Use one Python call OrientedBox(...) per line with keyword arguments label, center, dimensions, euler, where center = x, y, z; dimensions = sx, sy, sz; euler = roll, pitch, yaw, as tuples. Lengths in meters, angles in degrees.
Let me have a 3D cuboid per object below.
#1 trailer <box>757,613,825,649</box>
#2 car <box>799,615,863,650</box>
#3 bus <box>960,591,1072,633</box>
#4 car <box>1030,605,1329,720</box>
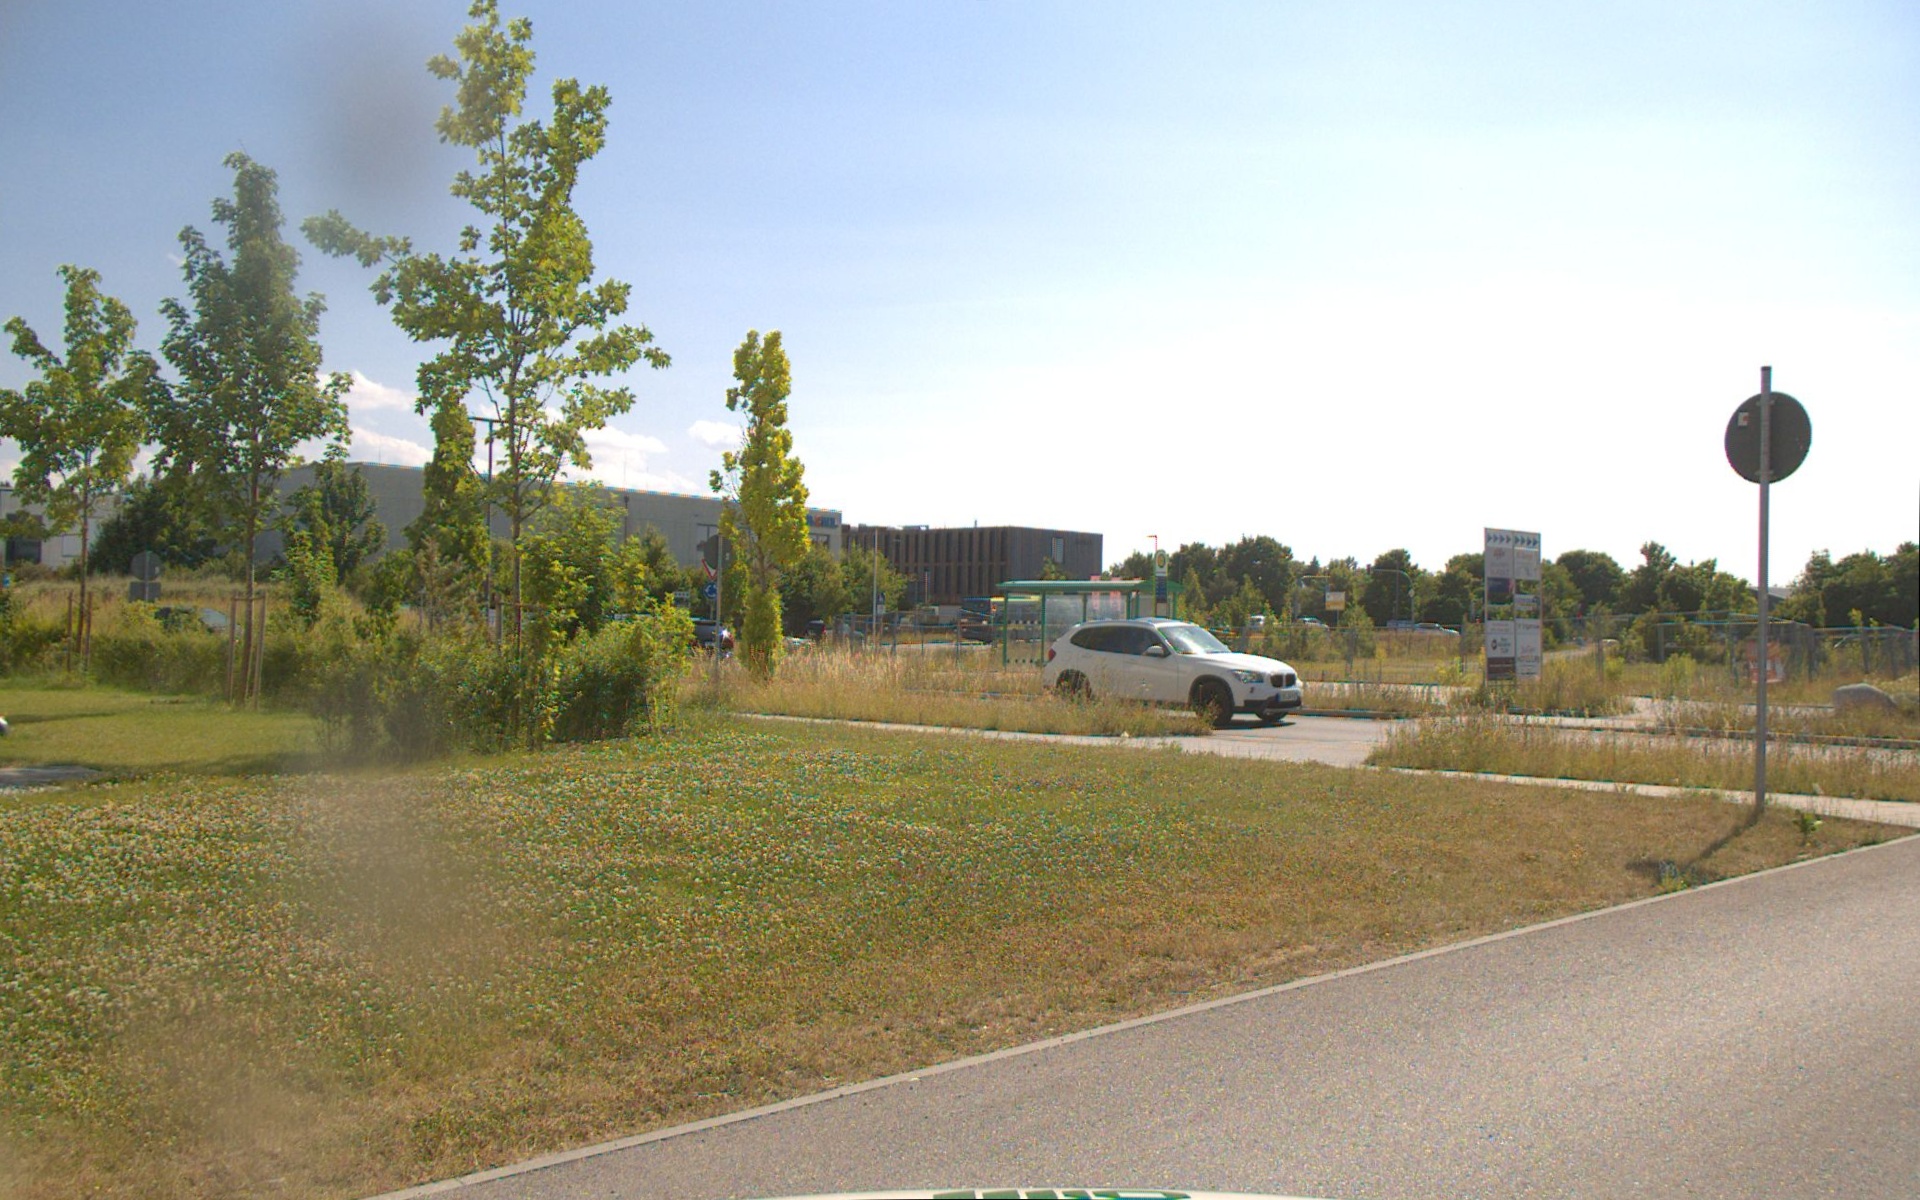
OrientedBox(label="trailer", center=(-9.476, 1.770, 92.848), dimensions=(1.788, 1.892, 3.992), euler=(1, -1, 29))
OrientedBox(label="car", center=(-7.492, 1.894, 96.286), dimensions=(1.788, 1.892, 3.992), euler=(1, -1, 29))
OrientedBox(label="bus", center=(4.068, 0.905, 116.760), dimensions=(2.525, 2.783, 11.540), euler=(1, 0, 31))
OrientedBox(label="car", center=(3.384, 0.939, 26.082), dimensions=(4.491, 1.578, 1.730), euler=(1, -1, 43))
